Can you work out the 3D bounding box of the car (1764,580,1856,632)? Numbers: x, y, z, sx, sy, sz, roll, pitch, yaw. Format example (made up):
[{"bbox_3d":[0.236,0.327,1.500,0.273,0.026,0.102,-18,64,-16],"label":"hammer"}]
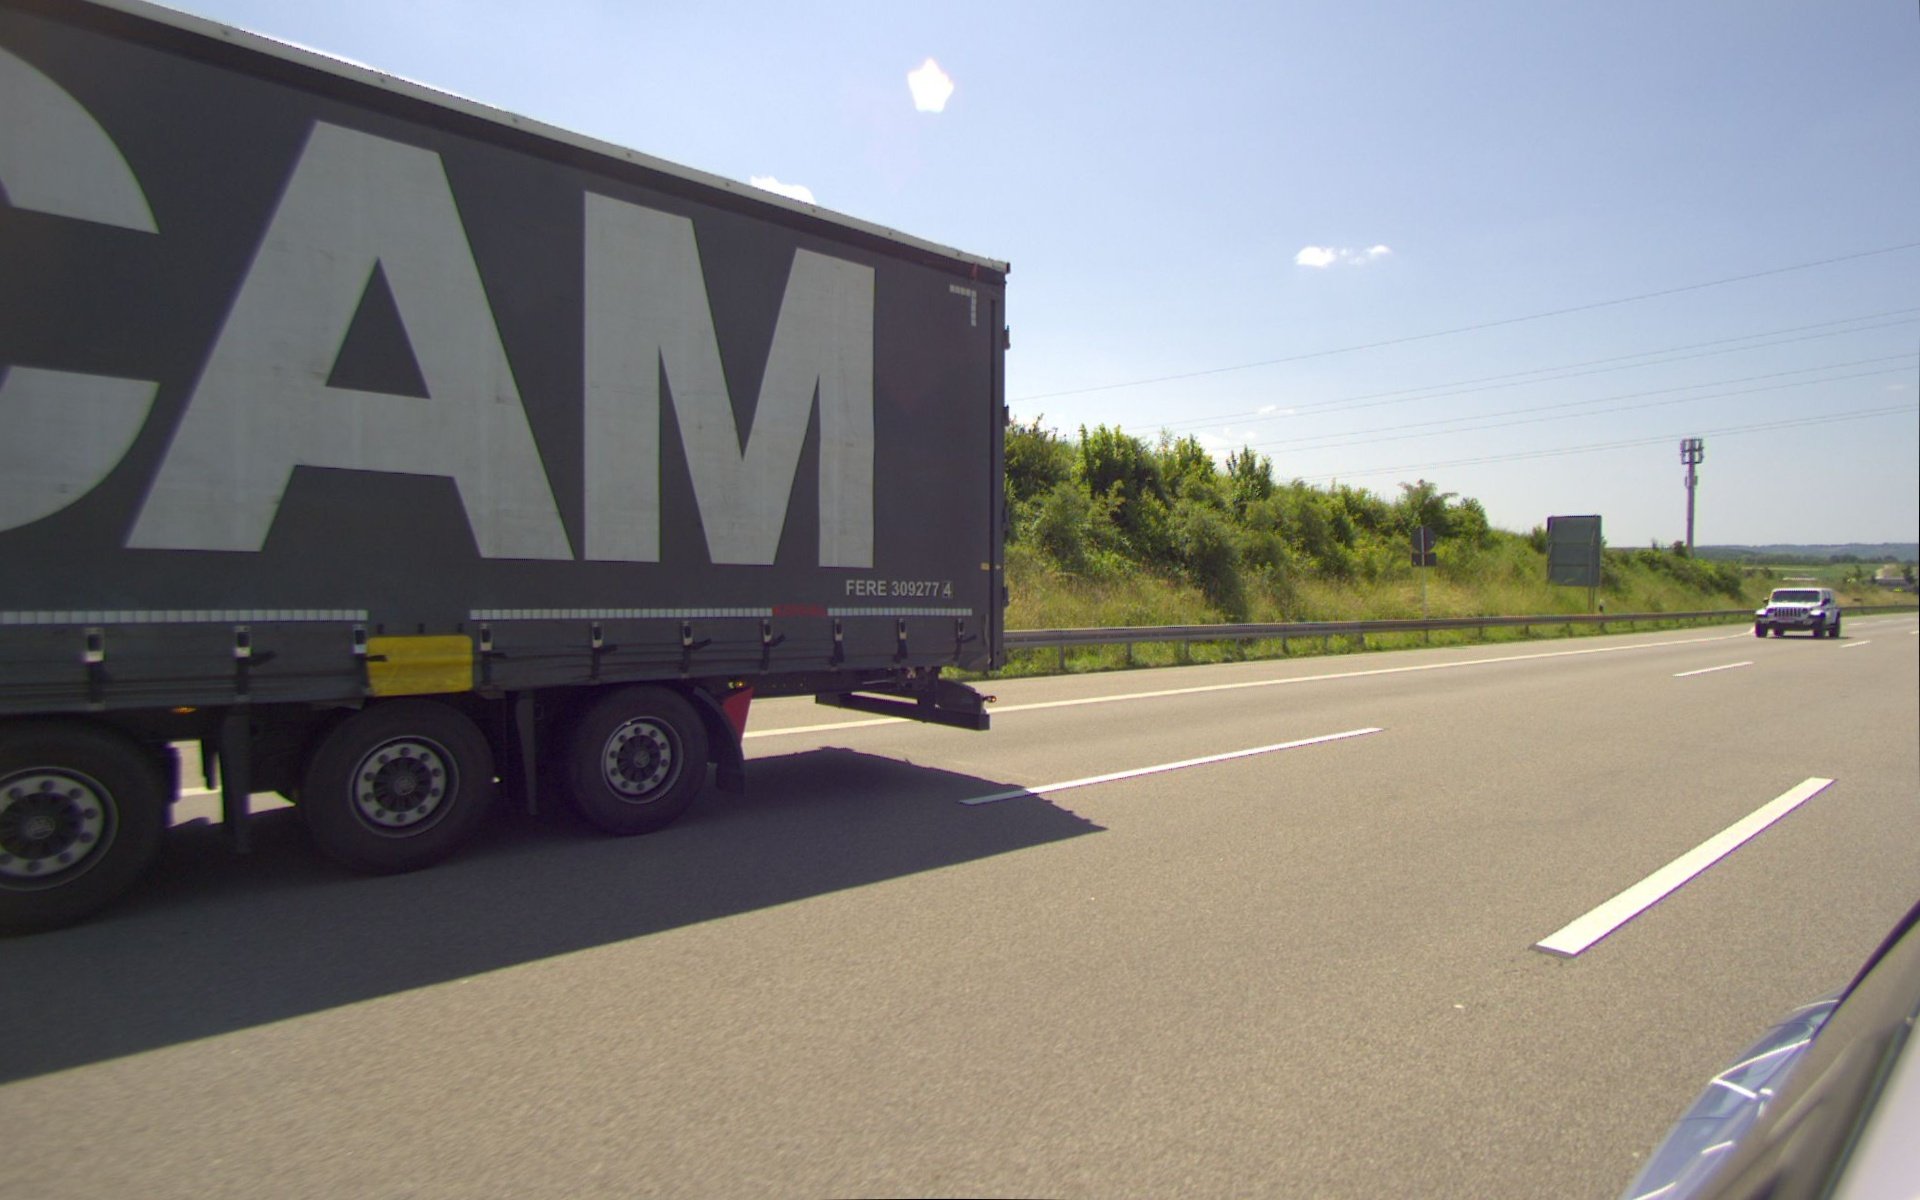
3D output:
[{"bbox_3d":[31.591,0.190,37.564,4.177,1.827,2.037,0,0,-42],"label":"car"}]

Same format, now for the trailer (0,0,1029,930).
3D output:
[{"bbox_3d":[-4.722,-0.763,5.238,11.602,4.207,2.730,-1,0,-41],"label":"trailer"}]
